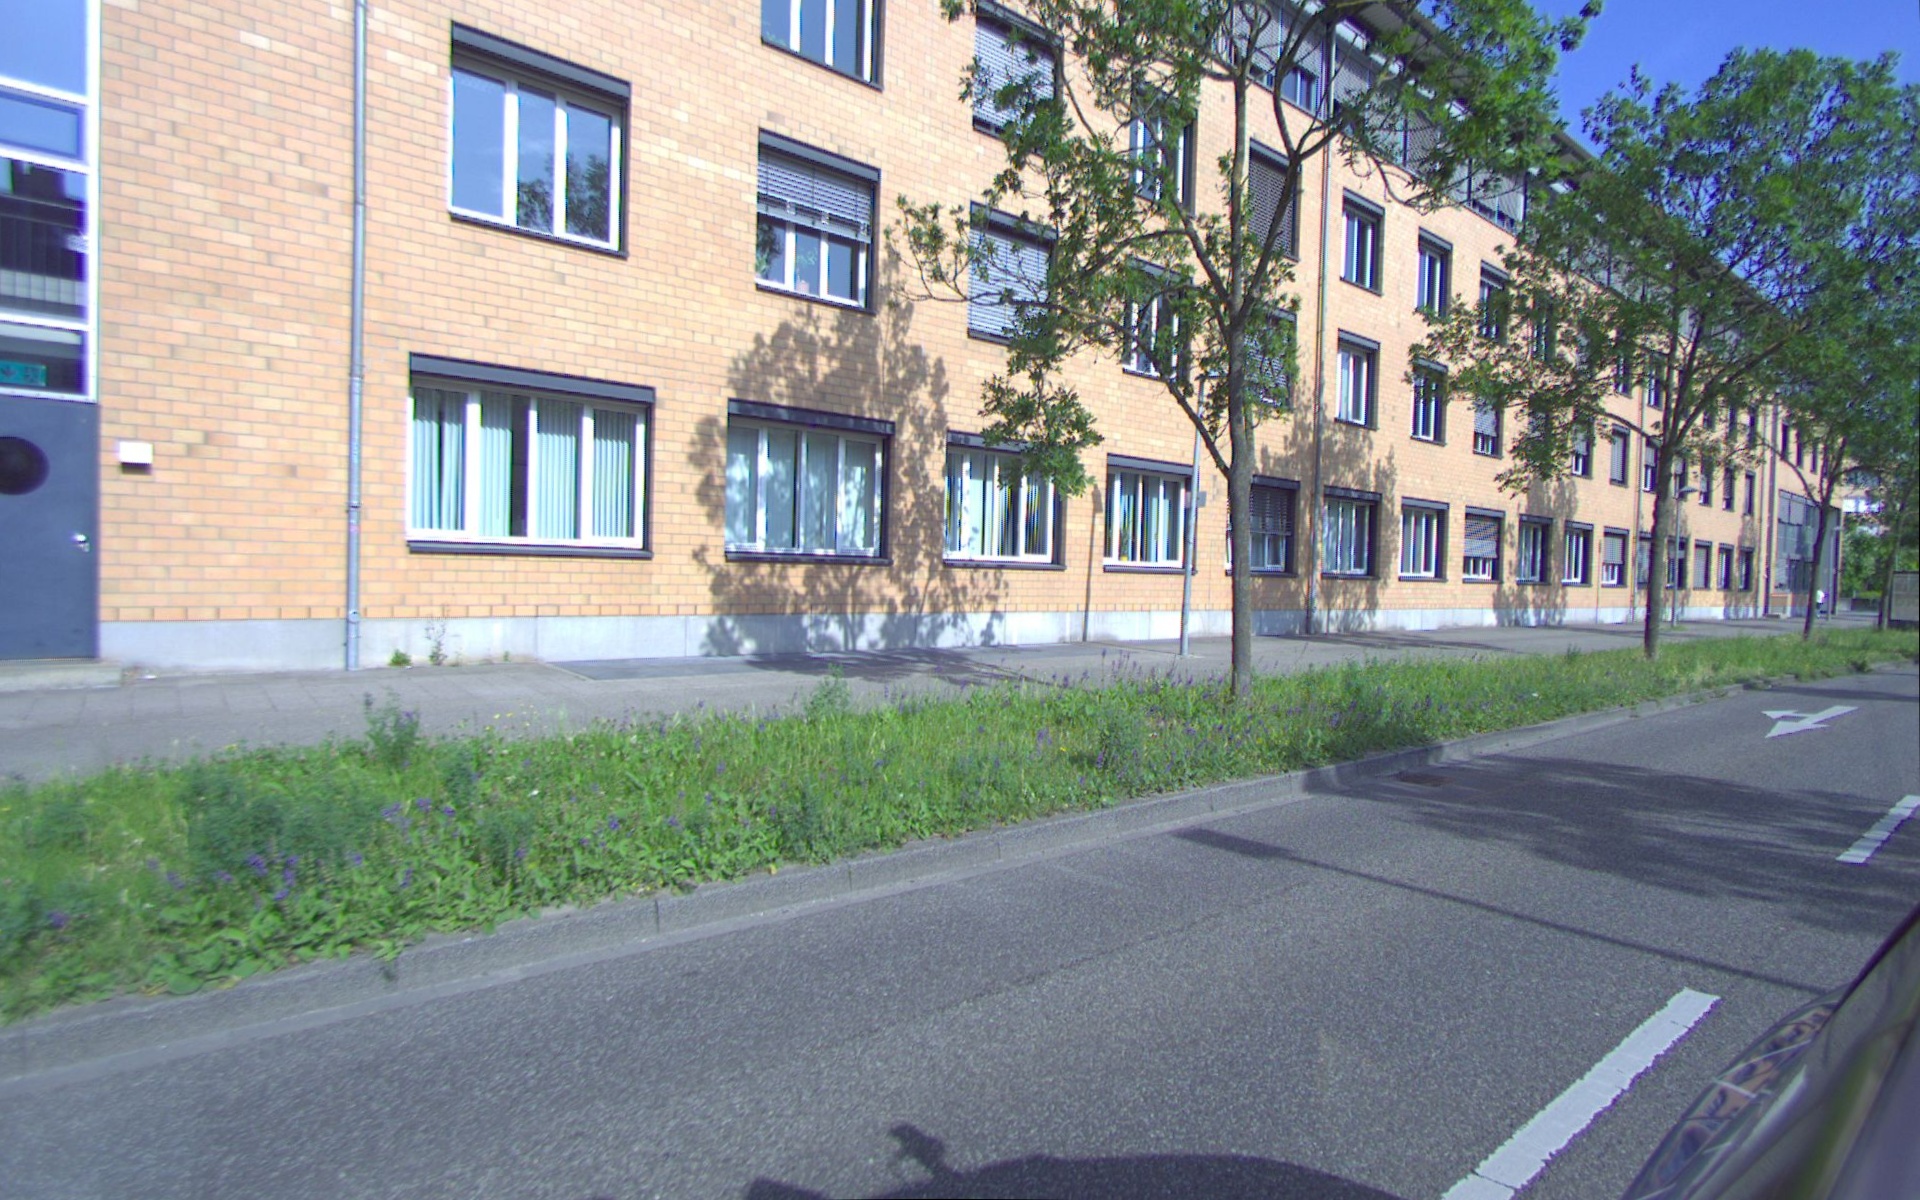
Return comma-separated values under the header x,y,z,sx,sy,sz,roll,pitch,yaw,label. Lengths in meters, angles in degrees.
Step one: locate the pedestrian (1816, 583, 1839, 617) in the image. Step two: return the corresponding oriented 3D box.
x,y,z,sx,sy,sz,roll,pitch,yaw,label
44.347,-0.023,51.747,0.759,1.676,0.697,-1,3,-40,pedestrian
